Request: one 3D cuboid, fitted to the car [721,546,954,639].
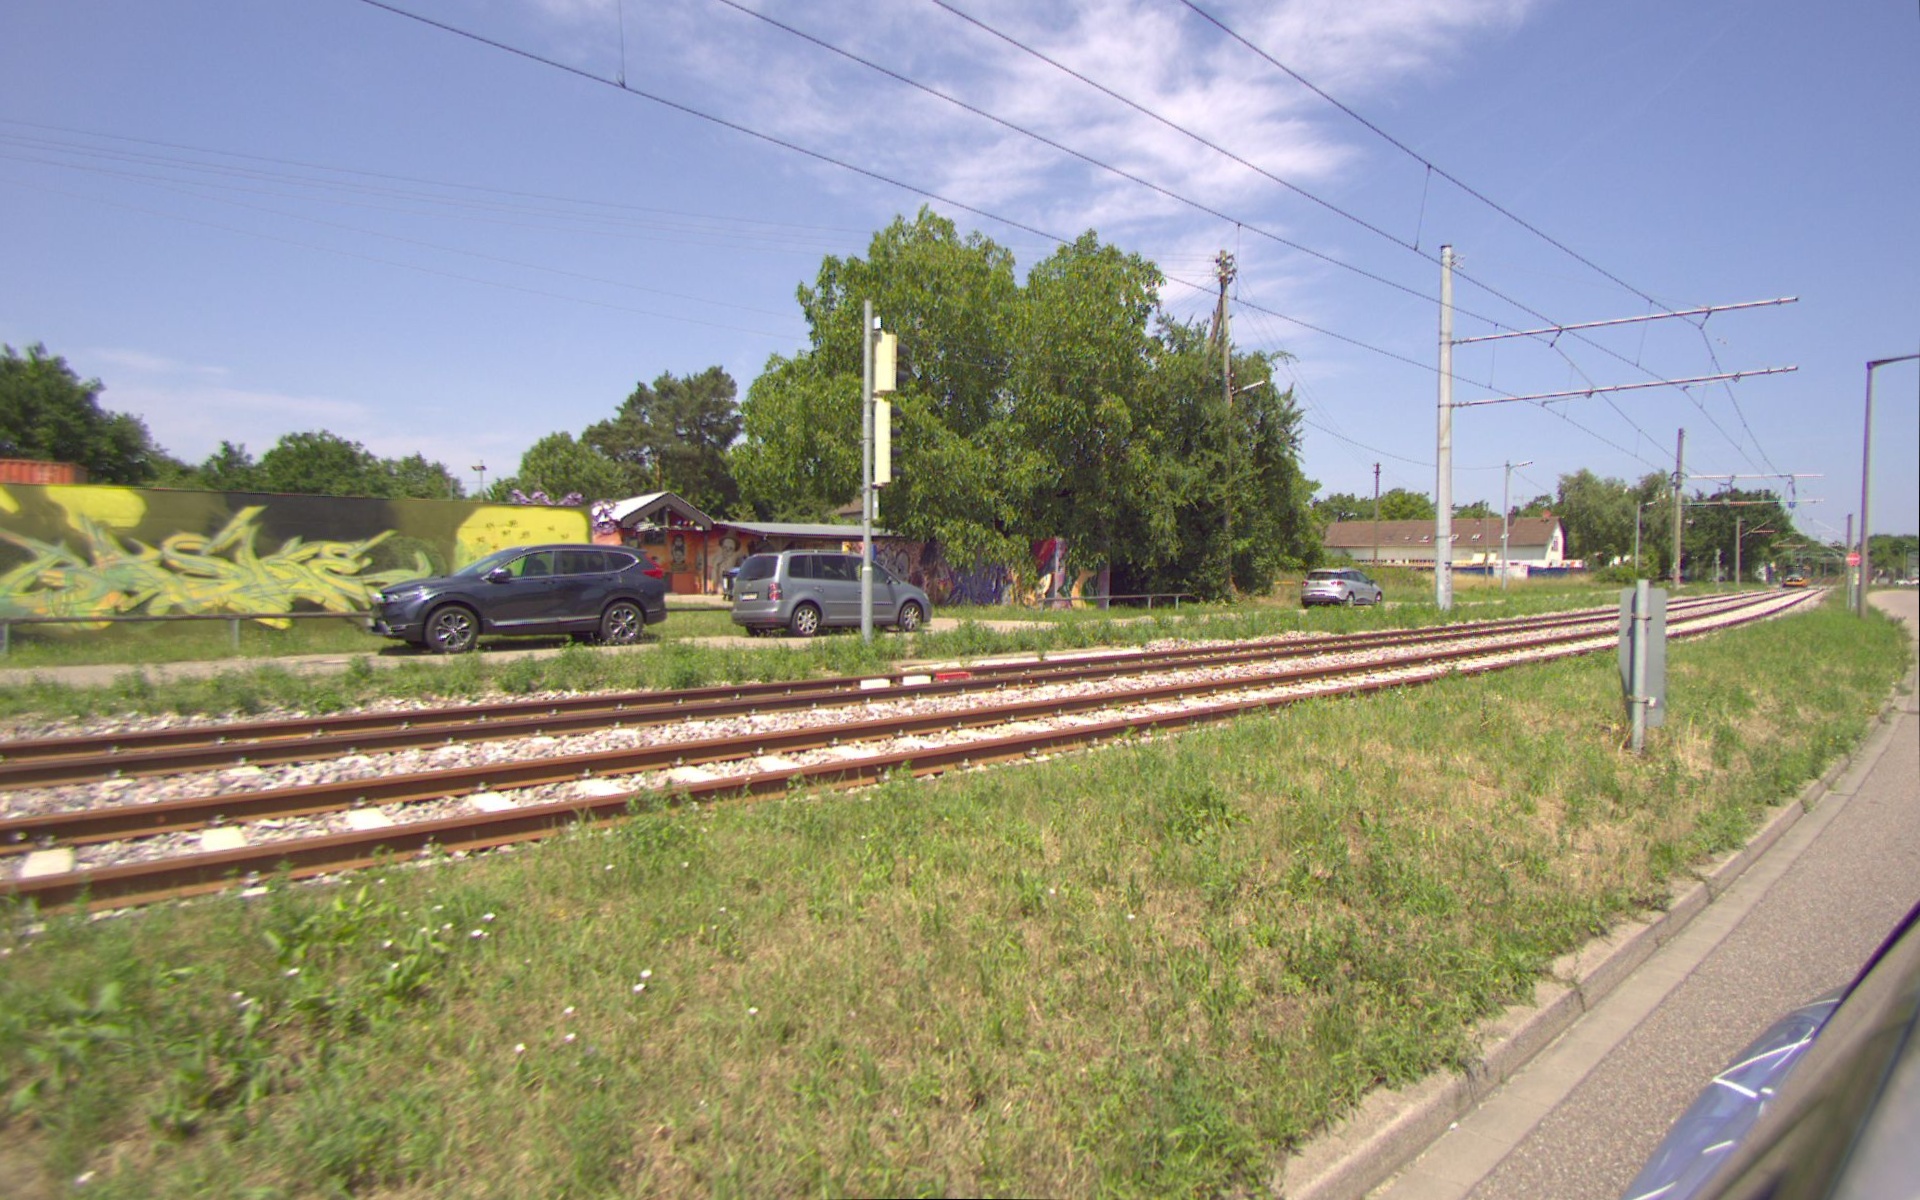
[{"bbox_3d":[-2.343,-0.243,20.341,1.677,1.644,4.637,2,3,44],"label":"car"}]

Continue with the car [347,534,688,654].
[{"bbox_3d":[-7.028,-0.199,16.448,4.735,1.677,1.830,-3,3,-43],"label":"car"}]

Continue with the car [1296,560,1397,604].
[{"bbox_3d":[13.866,-0.696,36.223,4.476,1.431,1.682,-3,3,-44],"label":"car"}]
